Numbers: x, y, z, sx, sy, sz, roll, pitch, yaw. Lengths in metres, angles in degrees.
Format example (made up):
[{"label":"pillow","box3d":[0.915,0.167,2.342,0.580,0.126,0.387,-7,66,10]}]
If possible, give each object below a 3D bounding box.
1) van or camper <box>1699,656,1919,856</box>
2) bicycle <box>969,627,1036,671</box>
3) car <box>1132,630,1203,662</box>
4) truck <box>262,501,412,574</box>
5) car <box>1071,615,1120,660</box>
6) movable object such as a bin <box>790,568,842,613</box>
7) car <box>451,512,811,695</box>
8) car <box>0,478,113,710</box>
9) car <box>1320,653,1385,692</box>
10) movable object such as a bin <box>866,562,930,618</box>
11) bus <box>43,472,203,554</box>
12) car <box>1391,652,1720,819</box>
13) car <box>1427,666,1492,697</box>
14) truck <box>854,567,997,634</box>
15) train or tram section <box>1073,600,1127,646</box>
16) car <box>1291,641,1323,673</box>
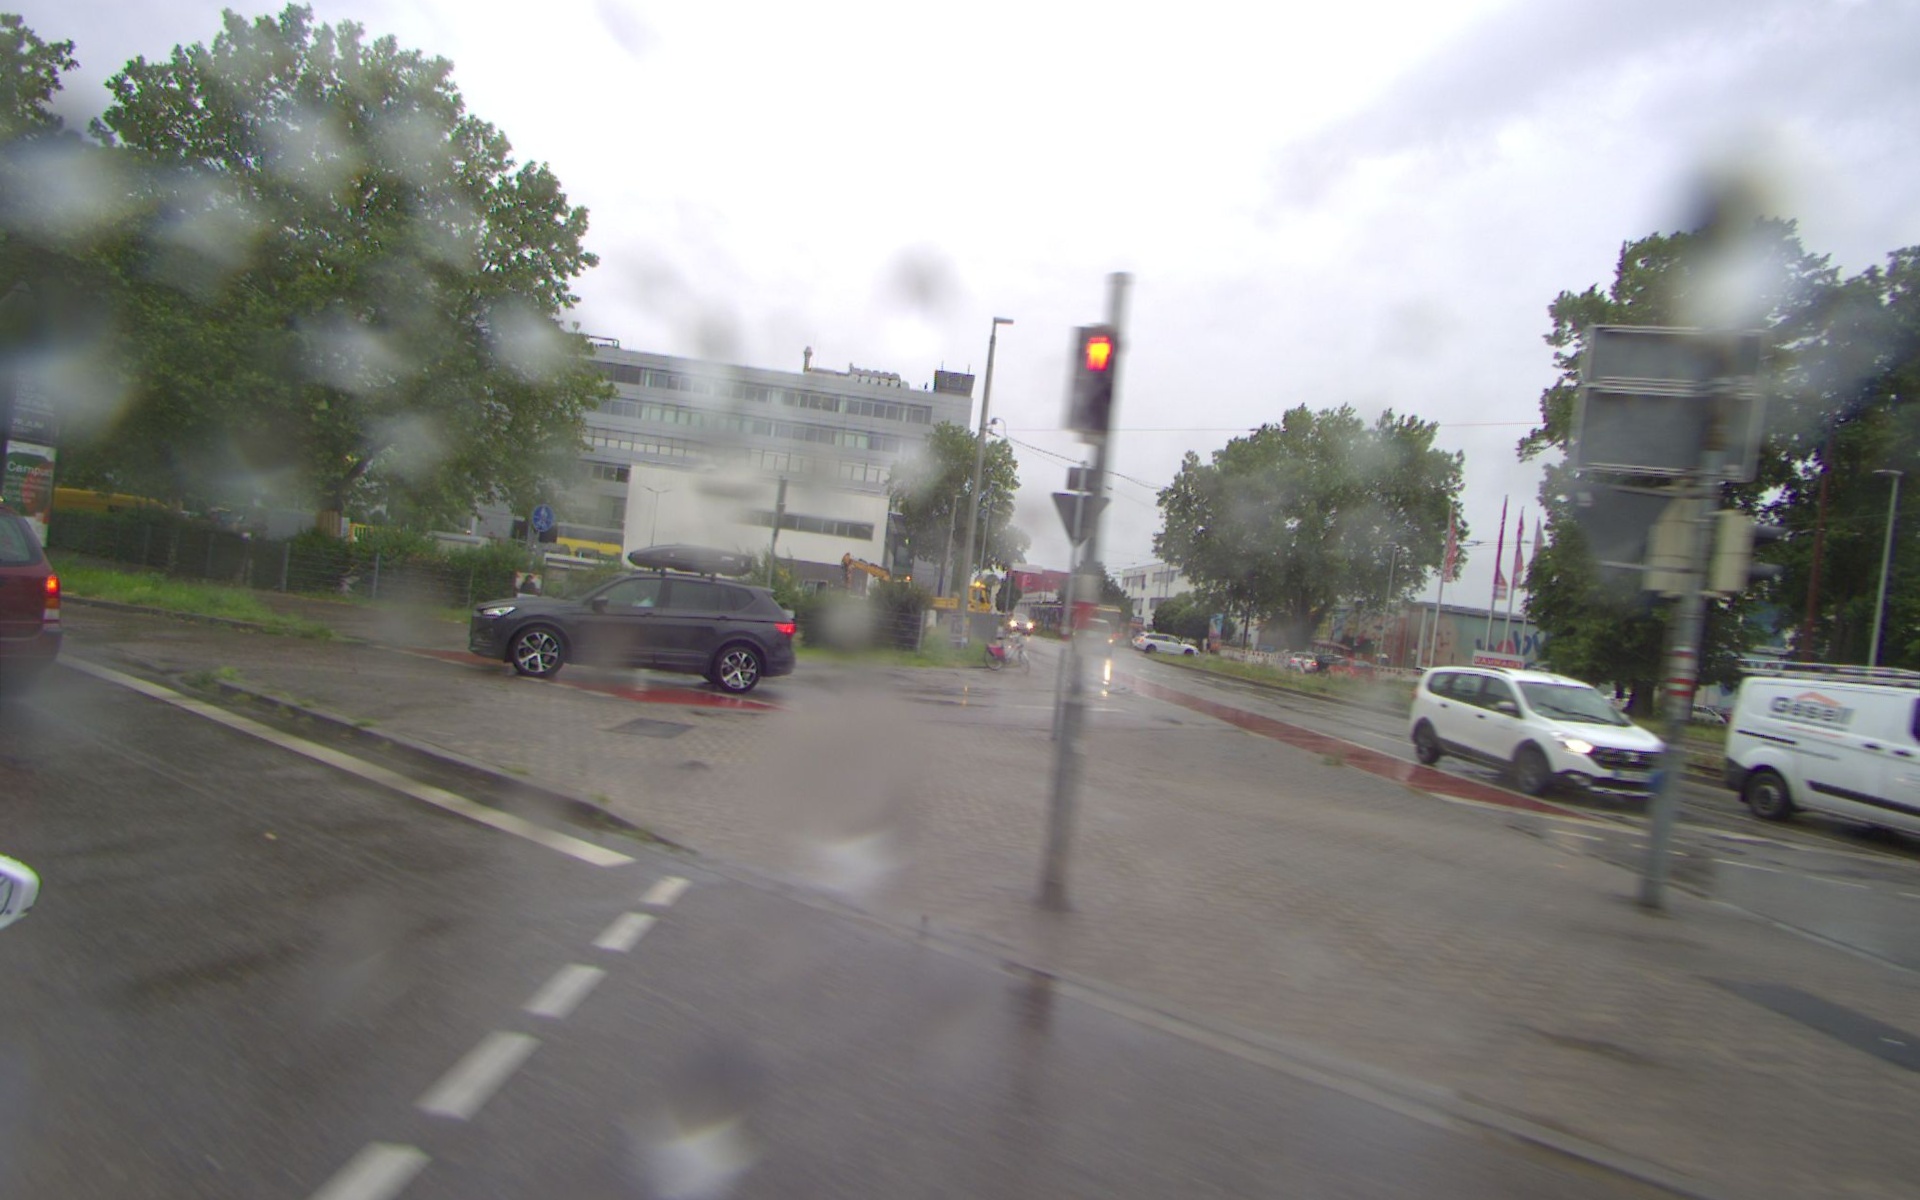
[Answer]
[{"label":"van or camper","box3d":[11.975,1.990,12.238,1.835,2.114,4.903,7,0,-5]},{"label":"bicycle","box3d":[1.185,1.359,27.828,1.611,1.051,0.804,7,0,-37]},{"label":"car","box3d":[14.520,3.214,70.539,4.538,1.617,1.846,7,0,4]},{"label":"truck","box3d":[-36.524,-3.522,59.531,3.026,3.067,9.504,7,-2,-3]},{"label":"car","box3d":[7.251,2.016,54.135,1.962,2.115,4.233,7,-2,2]},{"label":"movable object such as a bin","box3d":[-8.663,-0.547,60.950,1.975,2.384,3.284,7,0,10]},{"label":"car","box3d":[-4.875,0.099,15.101,4.696,2.082,1.920,7,0,-25]},{"label":"car","box3d":[-8.364,-0.280,7.532,4.044,1.554,1.842,7,-2,32]},{"label":"car","box3d":[21.792,4.015,55.993,1.775,1.799,3.782,7,-2,-4]},{"label":"movable object such as a bin","box3d":[-4.662,-0.785,75.264,3.564,3.670,3.302,7,0,-22]},{"label":"bus","box3d":[-36.264,-3.706,43.720,1.968,2.678,4.798,7,-1,34]},{"label":"car","box3d":[8.598,1.860,15.126,1.835,1.693,4.457,7,0,-5]},{"label":"car","box3d":[36.705,5.975,73.976,3.710,1.799,1.809,7,-2,4]},{"label":"truck","box3d":[-2.345,0.084,68.822,9.298,3.384,2.497,7,-1,-3]},{"label":"train or tram section","box3d":[11.943,2.008,86.771,2.358,3.560,8.370,7,-2,-5]},{"label":"car","box3d":[23.022,3.811,66.802,1.773,1.799,3.785,6,-2,19]}]
